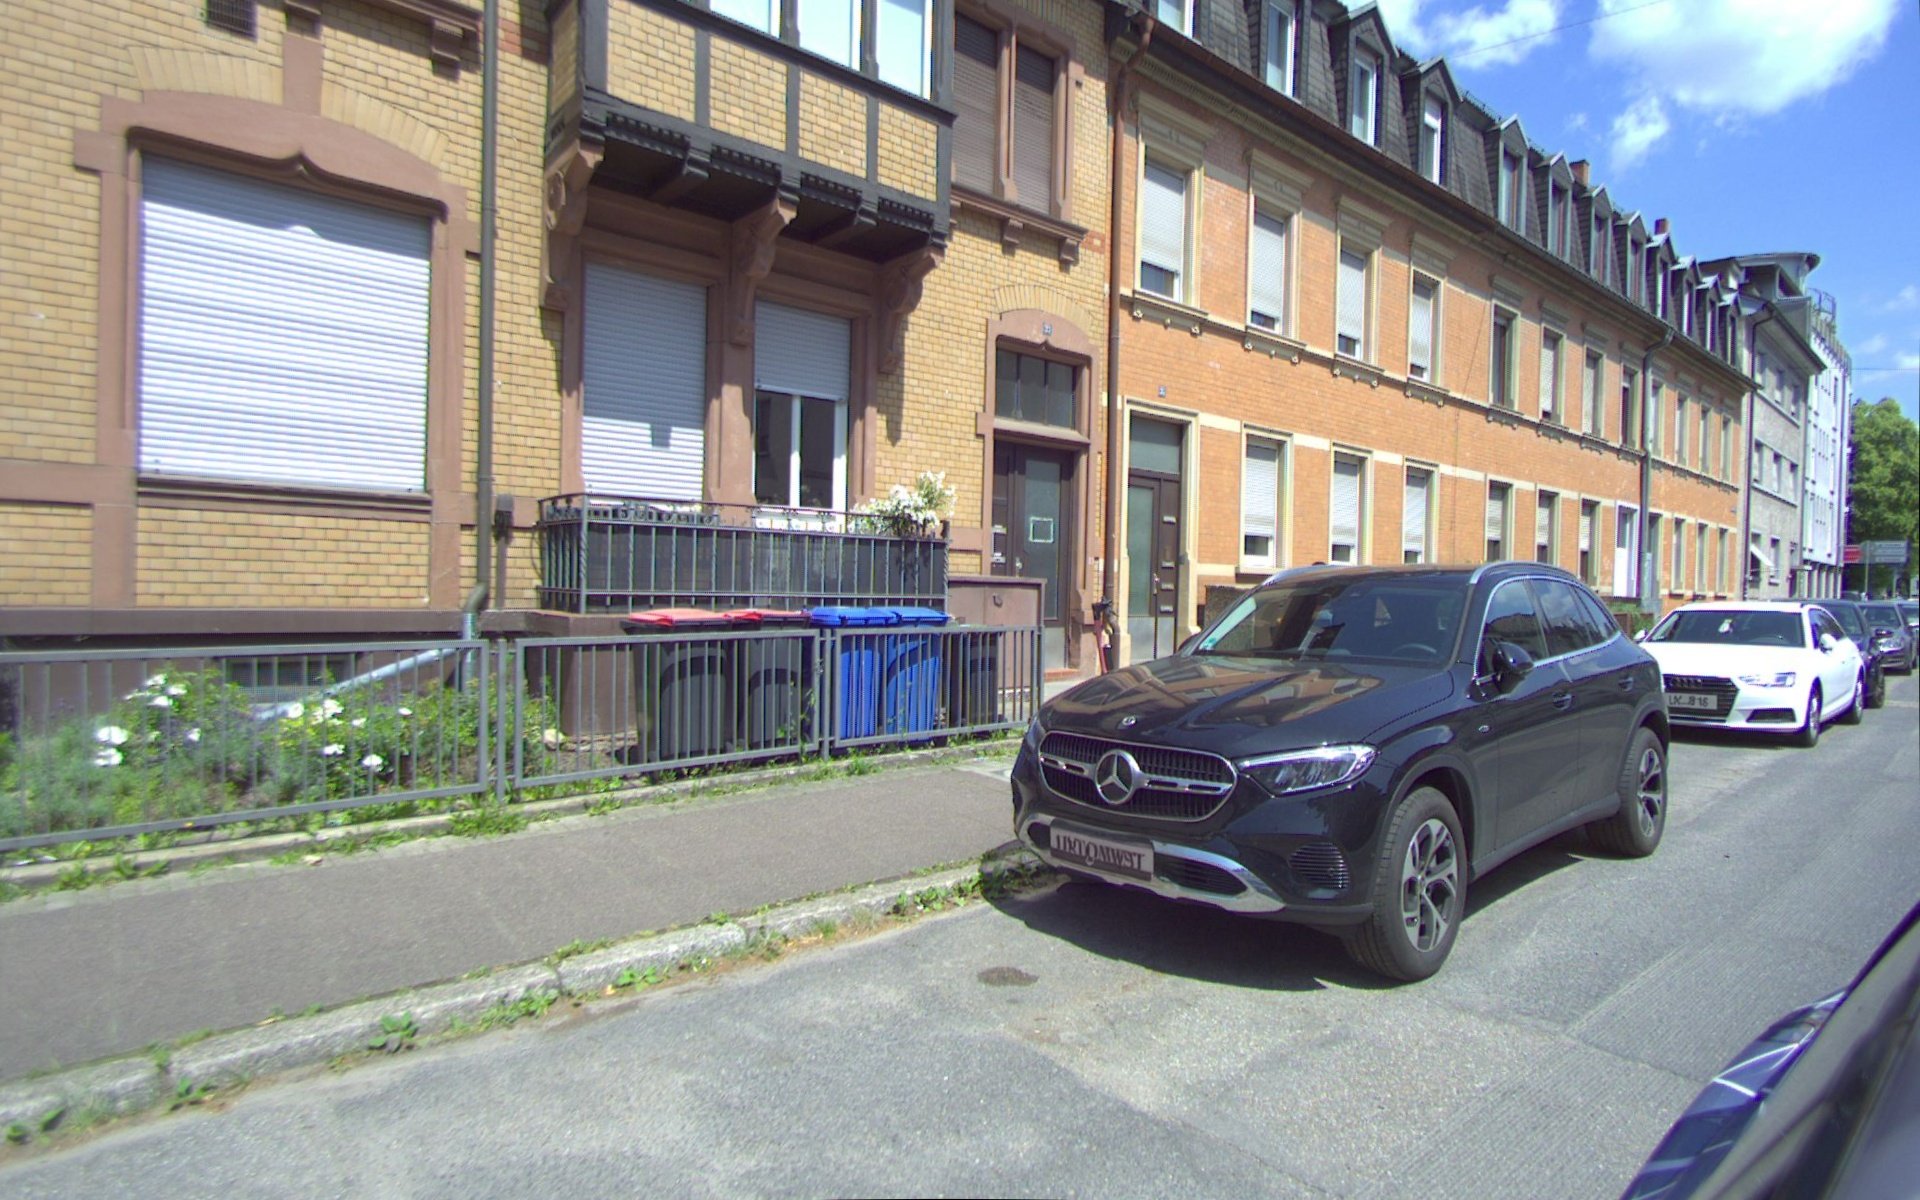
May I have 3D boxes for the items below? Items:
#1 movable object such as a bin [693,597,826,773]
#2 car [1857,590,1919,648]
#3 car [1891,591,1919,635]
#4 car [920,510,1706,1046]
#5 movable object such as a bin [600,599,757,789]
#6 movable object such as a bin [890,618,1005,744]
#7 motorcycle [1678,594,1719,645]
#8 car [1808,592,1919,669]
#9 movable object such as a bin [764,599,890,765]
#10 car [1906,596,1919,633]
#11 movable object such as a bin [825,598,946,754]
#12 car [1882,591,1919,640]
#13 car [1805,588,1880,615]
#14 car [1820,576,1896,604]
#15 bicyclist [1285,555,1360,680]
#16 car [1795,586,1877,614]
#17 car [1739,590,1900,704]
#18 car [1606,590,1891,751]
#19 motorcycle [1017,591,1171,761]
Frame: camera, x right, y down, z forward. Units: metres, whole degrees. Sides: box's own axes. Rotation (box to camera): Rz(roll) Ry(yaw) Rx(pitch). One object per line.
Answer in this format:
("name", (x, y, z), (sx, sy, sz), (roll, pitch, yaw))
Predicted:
("movable object such as a bin", (-1.390, 0.548, 6.975), (0.544, 1.102, 0.789), (0, 2, -44))
("car", (26.326, 0.484, 28.233), (1.852, 1.481, 4.484), (1, 1, 40))
("car", (34.191, 0.448, 35.660), (4.363, 1.491, 1.714), (0, 2, -43))
("car", (2.180, 0.508, 5.432), (4.545, 1.682, 1.997), (0, 2, -41))
("movable object such as a bin", (-1.825, 0.558, 6.546), (0.675, 1.102, 0.789), (0, 2, -44))
("movable object such as a bin", (-0.107, 0.626, 8.209), (0.530, 0.918, 0.789), (0, 2, -44))
("motorcycle", (18.970, 0.481, 25.992), (1.338, 1.240, 0.596), (-1, 2, -43))
("car", (18.898, 0.551, 20.915), (4.098, 1.398, 1.702), (-1, 1, -44))
("movable object such as a bin", (-0.978, 0.559, 7.377), (0.534, 1.102, 0.789), (0, 2, -44))
("car", (40.559, 0.595, 42.095), (1.678, 1.473, 4.077), (0, 0, 44))
("movable object such as a bin", (-0.580, 0.547, 7.780), (0.530, 1.102, 0.789), (0, 2, -44))
("car", (30.170, 0.467, 31.804), (1.652, 1.438, 3.985), (2, 2, 44))
("car", (59.953, 0.107, 68.776), (3.761, 1.688, 1.639), (3, 2, 42))
("car", (74.677, -0.815, 84.217), (2.071, 2.305, 4.606), (0, 0, -43))
("bicyclist", (4.474, 0.194, 12.489), (0.777, 1.487, 0.533), (0, 2, -41))
("car", (57.994, -0.022, 67.059), (1.984, 1.772, 3.989), (-1, 1, -44))
("car", (13.044, 0.585, 15.293), (1.648, 1.432, 4.433), (1, 1, 42))
("car", (9.083, 0.638, 11.506), (4.509, 1.432, 1.719), (0, 2, -41))
("motorcycle", (1.107, 0.570, 8.204), (1.334, 1.252, 0.441), (0, 2, -42))
